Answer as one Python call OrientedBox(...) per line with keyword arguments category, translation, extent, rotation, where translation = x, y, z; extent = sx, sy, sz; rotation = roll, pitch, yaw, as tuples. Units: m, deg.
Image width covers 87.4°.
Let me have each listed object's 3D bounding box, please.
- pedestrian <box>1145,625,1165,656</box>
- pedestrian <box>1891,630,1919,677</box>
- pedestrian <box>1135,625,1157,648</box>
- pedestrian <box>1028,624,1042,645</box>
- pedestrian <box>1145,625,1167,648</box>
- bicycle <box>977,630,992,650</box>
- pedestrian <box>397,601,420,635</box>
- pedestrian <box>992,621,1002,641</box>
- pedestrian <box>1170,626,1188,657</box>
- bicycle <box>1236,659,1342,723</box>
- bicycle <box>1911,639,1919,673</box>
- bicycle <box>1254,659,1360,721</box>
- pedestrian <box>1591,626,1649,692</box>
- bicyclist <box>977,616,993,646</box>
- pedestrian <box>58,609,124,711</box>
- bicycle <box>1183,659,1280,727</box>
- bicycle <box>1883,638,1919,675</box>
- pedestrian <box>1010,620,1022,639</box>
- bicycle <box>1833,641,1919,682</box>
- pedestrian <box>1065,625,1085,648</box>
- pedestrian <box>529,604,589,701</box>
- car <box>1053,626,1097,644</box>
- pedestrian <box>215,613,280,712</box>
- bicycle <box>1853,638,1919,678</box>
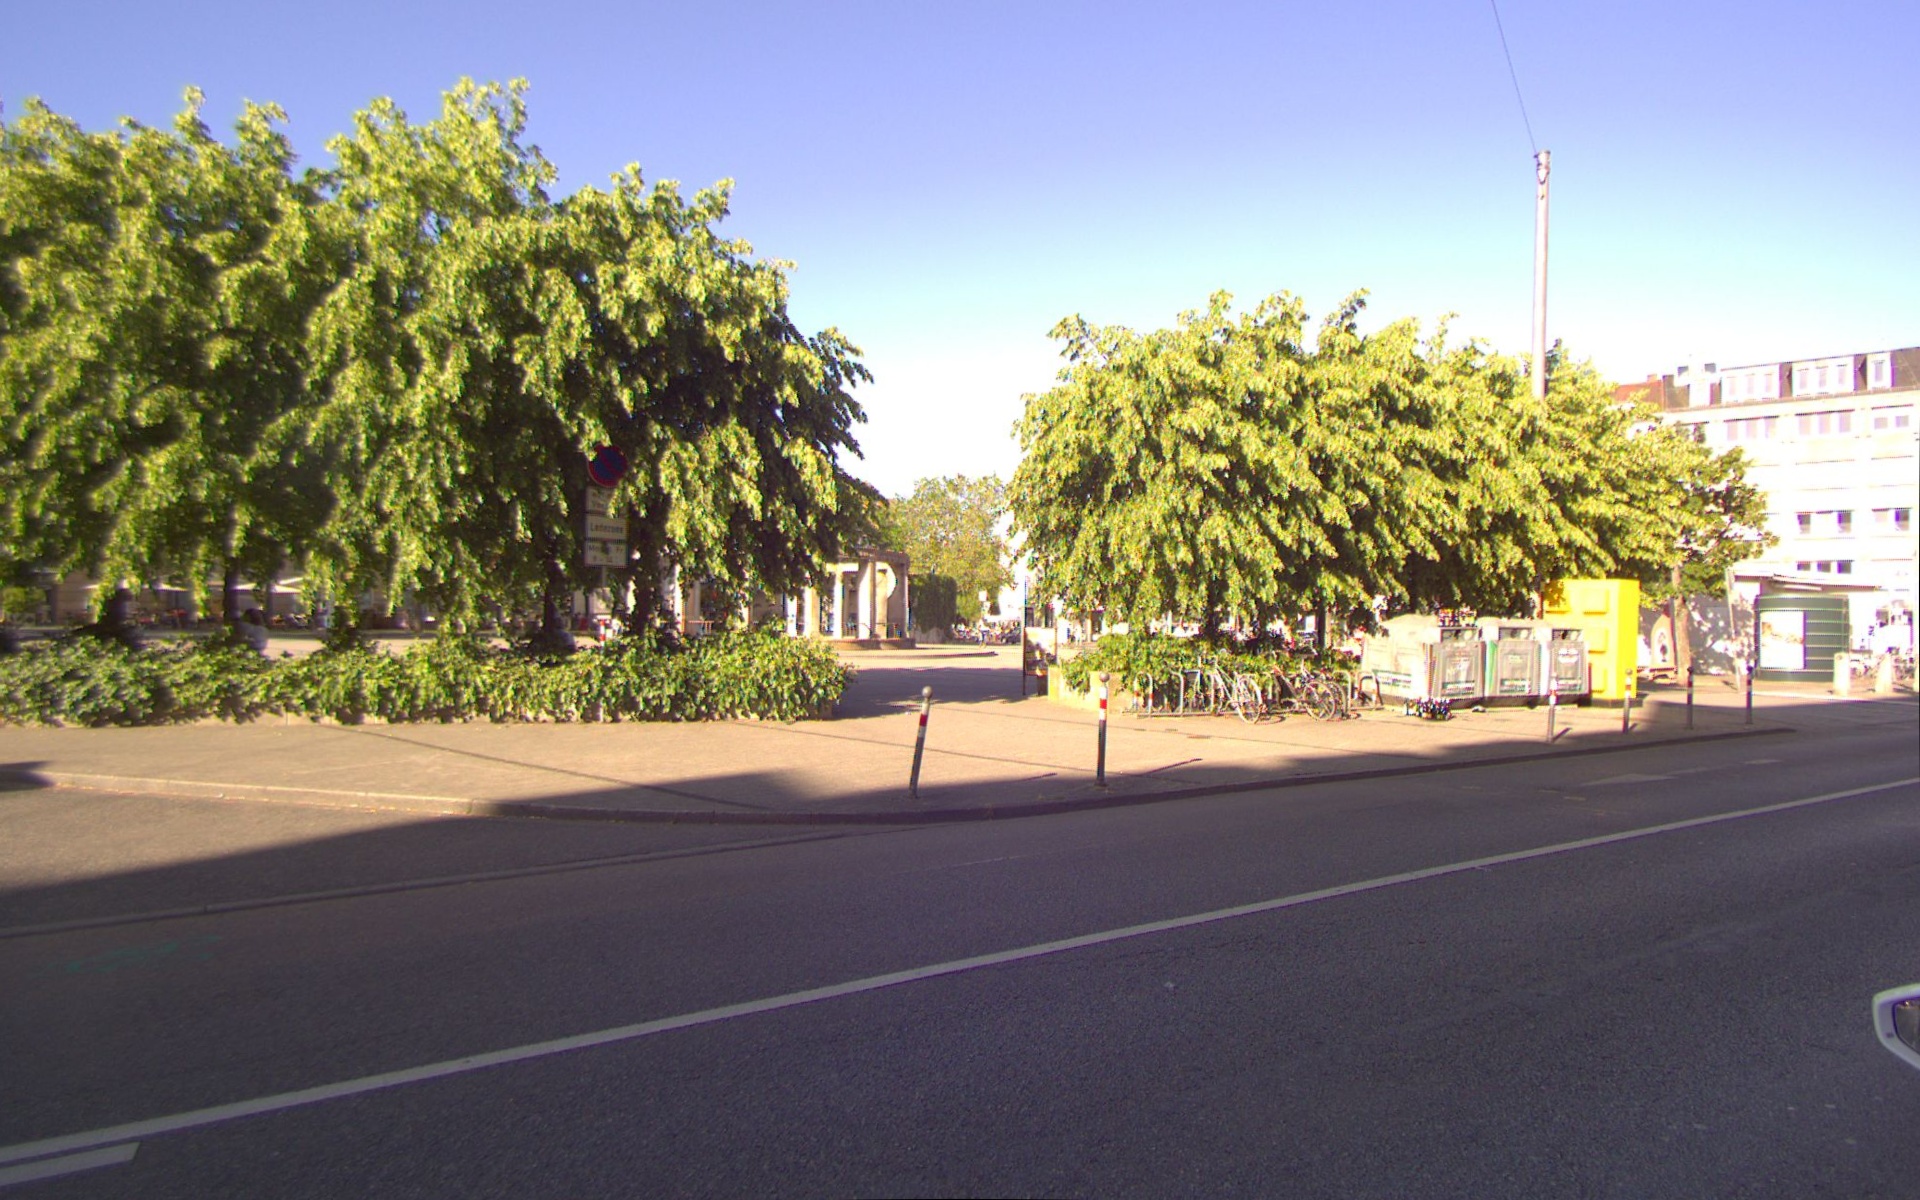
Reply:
OrientedBox(category="pedestrian", translation=(10.167, 2.110, 52.380), extent=(0.904, 1.541, 0.936), rotation=(2, 0, 15))
OrientedBox(category="pedestrian", translation=(34.212, 1.900, 36.011), extent=(1.257, 1.633, 1.083), rotation=(2, 0, -42))
OrientedBox(category="pedestrian", translation=(10.200, 1.992, 55.044), extent=(0.855, 1.230, 0.933), rotation=(2, 0, -15))
OrientedBox(category="pedestrian", translation=(6.689, 3.049, 89.499), extent=(0.935, 1.845, 0.862), rotation=(2, 0, 31))
OrientedBox(category="pedestrian", translation=(10.851, 2.020, 55.704), extent=(0.885, 1.230, 0.864), rotation=(2, 0, -15))
OrientedBox(category="bicycle", translation=(1.444, 2.383, 59.691), extent=(0.594, 1.116, 1.987), rotation=(2, 0, -8))
OrientedBox(category="pedestrian", translation=(-25.347, 0.838, 46.189), extent=(0.684, 1.550, 0.736), rotation=(2, 0, 43))
OrientedBox(category="pedestrian", translation=(3.864, 3.262, 104.437), extent=(0.836, 2.040, 0.855), rotation=(2, 0, 10))
OrientedBox(category="pedestrian", translation=(11.221, 2.125, 51.533), extent=(0.761, 1.541, 0.838), rotation=(2, 0, 6))
OrientedBox(category="bicycle", translation=(5.268, 1.439, 16.187), extent=(0.465, 0.870, 1.659), rotation=(2, 0, -35))
OrientedBox(category="bicycle", translation=(37.241, 2.149, 37.275), extent=(0.932, 1.276, 2.648), rotation=(2, 0, -32))
OrientedBox(category="bicycle", translation=(5.666, 1.449, 16.482), extent=(0.465, 0.870, 1.654), rotation=(2, 0, -35))
OrientedBox(category="pedestrian", translation=(16.101, 1.428, 24.512), extent=(0.686, 1.564, 0.919), rotation=(2, 0, -25))
OrientedBox(category="bicyclist", translation=(1.493, 1.840, 59.461), extent=(0.774, 1.722, 0.895), rotation=(2, 0, -6))
OrientedBox(category="pedestrian", translation=(-12.866, 0.867, 14.888), extent=(0.615, 1.456, 0.647), rotation=(2, 0, -32))
OrientedBox(category="bicycle", translation=(4.168, 1.407, 15.528), extent=(0.464, 0.897, 1.558), rotation=(2, 0, -29))
OrientedBox(category="bicycle", translation=(35.257, 2.078, 36.131), extent=(0.932, 1.287, 2.859), rotation=(2, 0, -32))
OrientedBox(category="pedestrian", translation=(5.469, 2.910, 98.296), extent=(0.891, 1.845, 0.952), rotation=(2, 0, 17))
OrientedBox(category="bicycle", translation=(31.216, 2.058, 33.763), extent=(0.932, 1.211, 2.645), rotation=(2, 0, -32))
OrientedBox(category="pedestrian", translation=(9.617, 3.029, 83.976), extent=(1.277, 1.867, 1.100), rotation=(2, 0, 28))
OrientedBox(category="pedestrian", translation=(-6.564, 0.842, 16.440), extent=(0.688, 1.541, 0.676), rotation=(2, 0, -41))
OrientedBox(category="car", translation=(10.497, 3.205, 92.013), extent=(1.538, 1.550, 4.088), rotation=(1, -1, -38))
OrientedBox(category="pedestrian", translation=(-10.858, 0.930, 15.305), extent=(0.581, 1.456, 0.615), rotation=(2, 0, 33))
OrientedBox(category="bicycle", translation=(33.138, 2.034, 35.065), extent=(0.923, 1.291, 2.764), rotation=(2, 0, -32))
